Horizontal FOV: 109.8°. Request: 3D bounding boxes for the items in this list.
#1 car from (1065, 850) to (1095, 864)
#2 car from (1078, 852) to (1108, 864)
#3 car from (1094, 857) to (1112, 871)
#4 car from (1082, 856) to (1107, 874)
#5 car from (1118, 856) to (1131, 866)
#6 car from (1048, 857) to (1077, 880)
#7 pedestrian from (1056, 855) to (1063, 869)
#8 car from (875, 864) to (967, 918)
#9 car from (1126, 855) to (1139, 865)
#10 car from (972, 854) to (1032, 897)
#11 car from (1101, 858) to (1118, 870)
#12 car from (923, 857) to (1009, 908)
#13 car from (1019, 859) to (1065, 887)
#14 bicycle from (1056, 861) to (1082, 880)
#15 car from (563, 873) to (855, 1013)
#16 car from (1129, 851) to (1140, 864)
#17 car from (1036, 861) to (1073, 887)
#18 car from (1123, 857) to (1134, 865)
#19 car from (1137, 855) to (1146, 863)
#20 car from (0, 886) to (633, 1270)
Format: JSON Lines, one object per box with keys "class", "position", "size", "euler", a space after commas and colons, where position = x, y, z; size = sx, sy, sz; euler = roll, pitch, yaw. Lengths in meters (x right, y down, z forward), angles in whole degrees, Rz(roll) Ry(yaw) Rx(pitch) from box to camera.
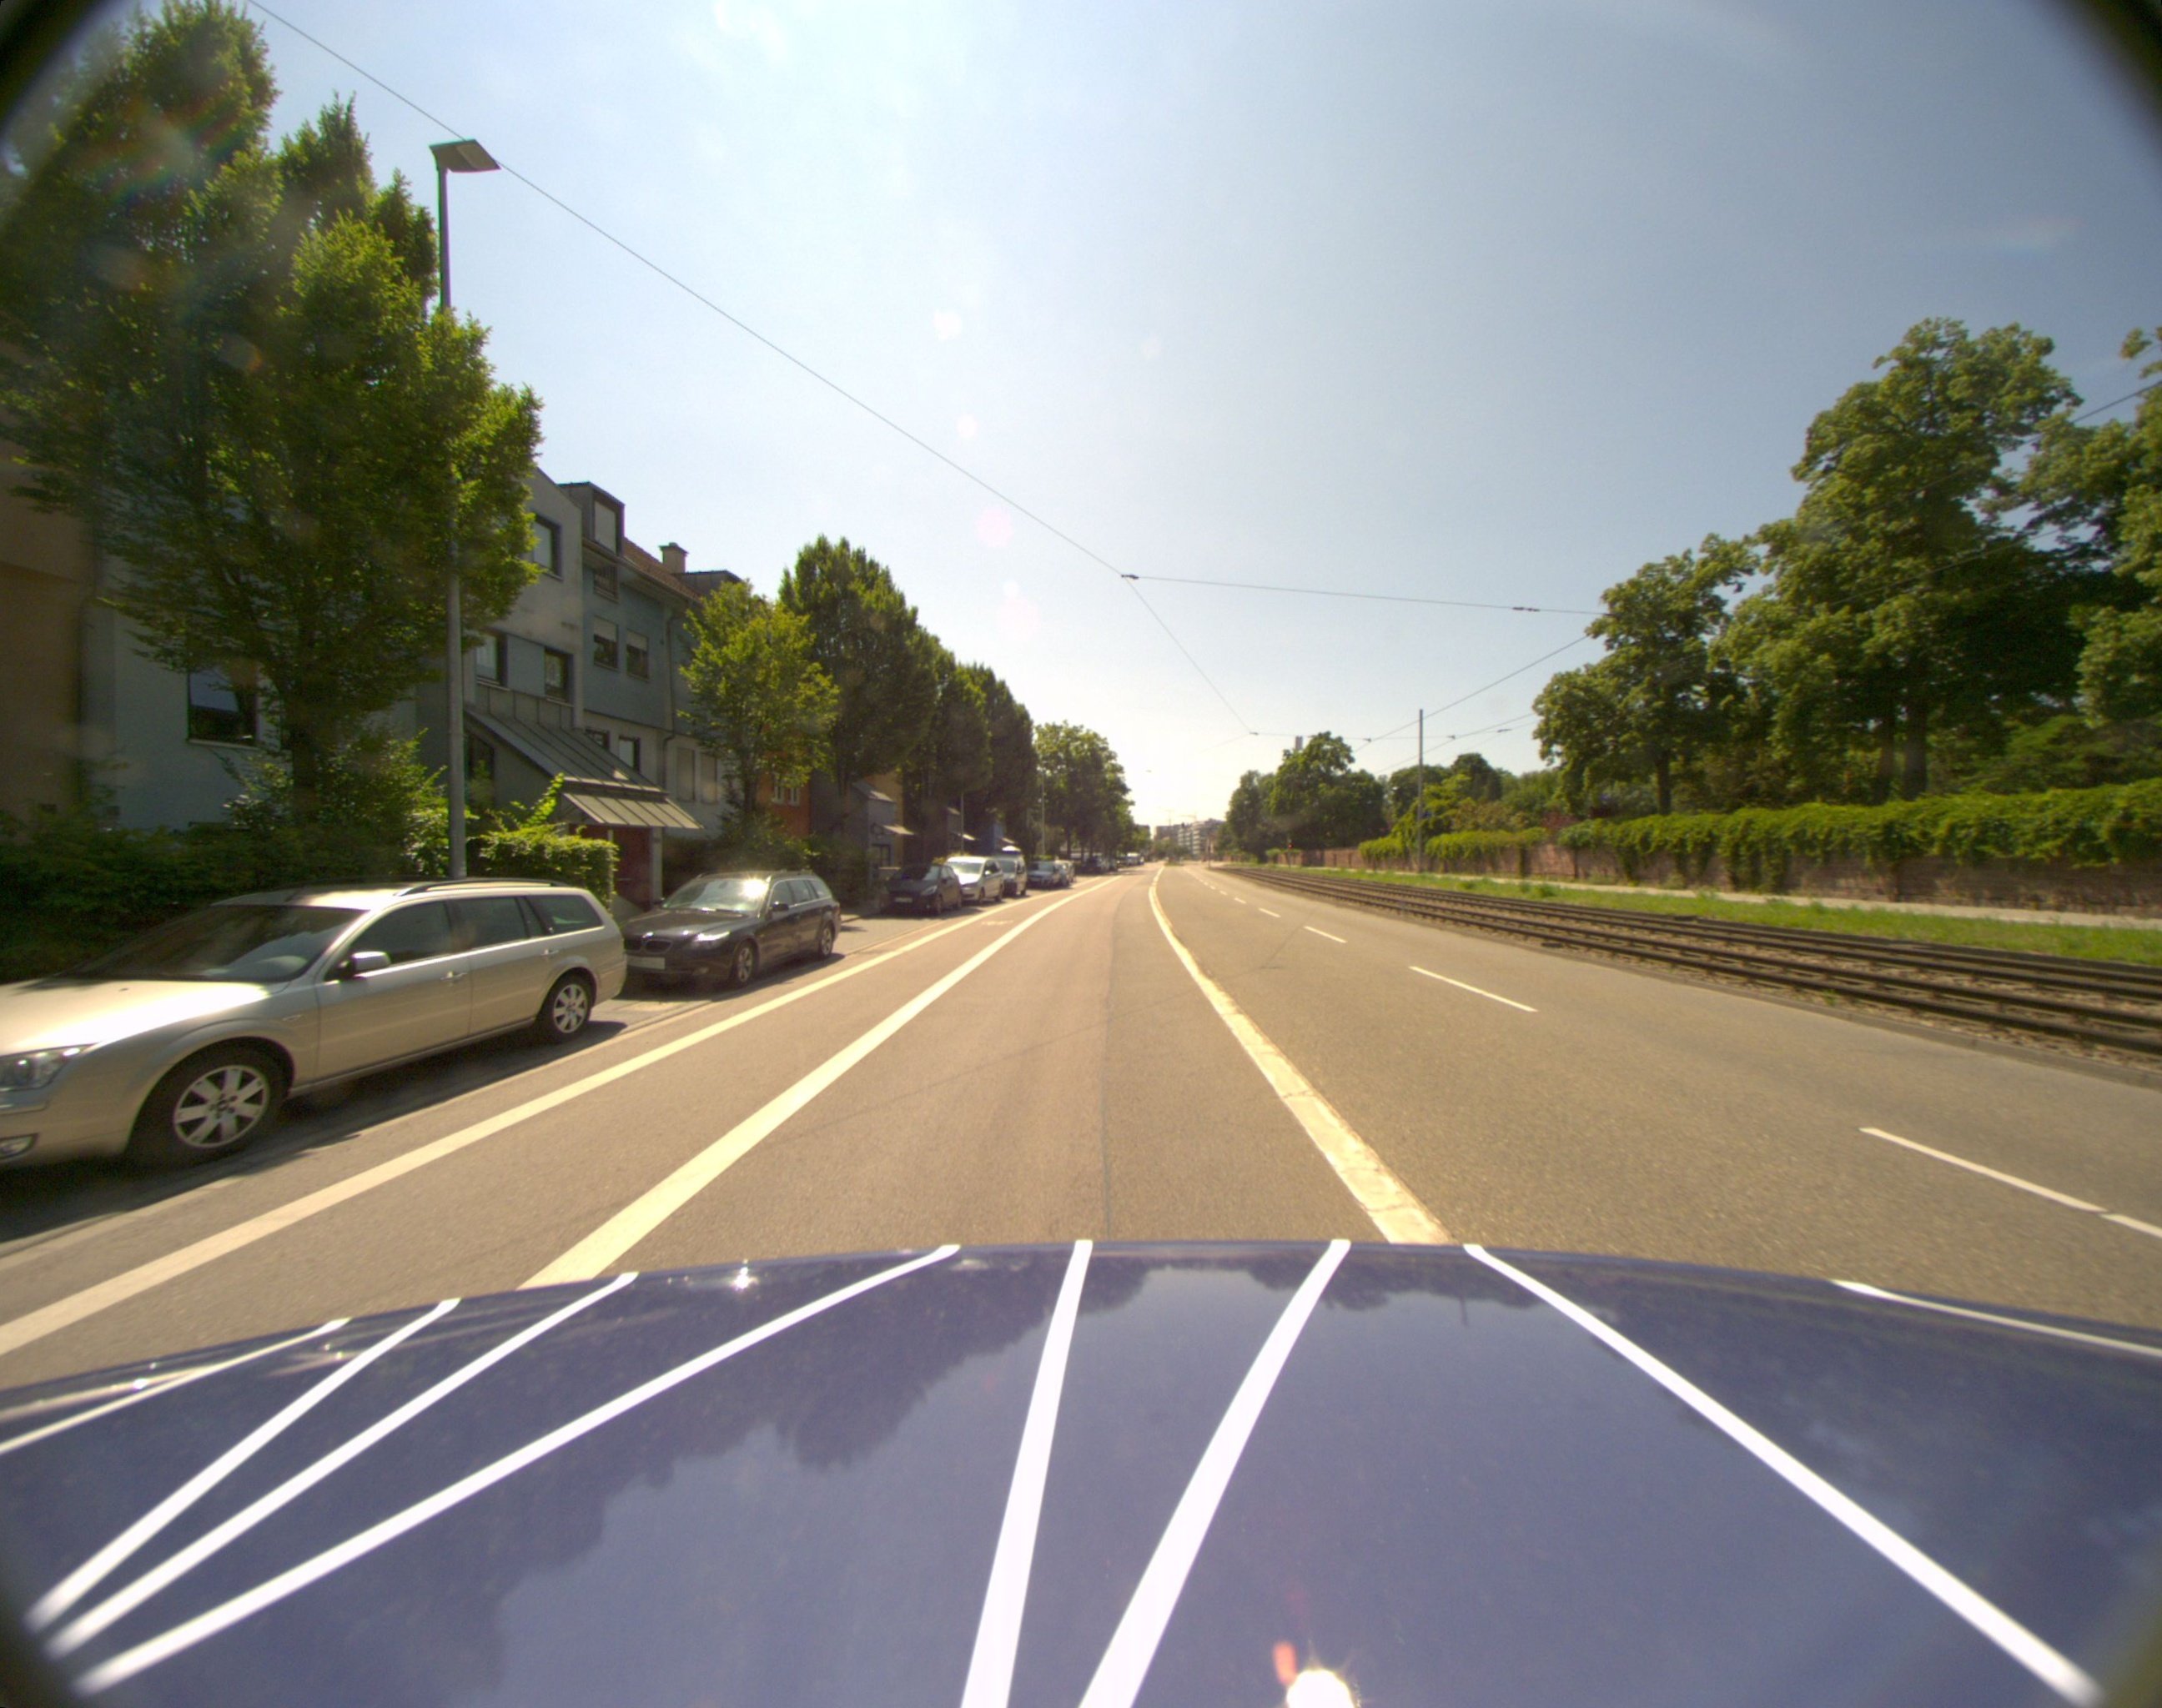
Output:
{"class": "car", "position": [-0.165, 0.607, 148.443], "size": [5.501, 2.445, 2.096], "euler": [-3, 0, 8]}
{"class": "car", "position": [2.717, 0.958, 172.946], "size": [6.352, 2.514, 2.265], "euler": [-3, 0, 10]}
{"class": "car", "position": [2.532, 1.142, 87.376], "size": [1.844, 1.520, 4.207], "euler": [2, 0, 4]}
{"class": "car", "position": [1.405, 1.063, 75.957], "size": [1.844, 1.696, 4.629], "euler": [2, 0, 8]}
{"class": "car", "position": [7.145, 1.152, 124.836], "size": [1.715, 1.623, 4.710], "euler": [2, 1, 6]}
{"class": "car", "position": [-1.276, 1.010, 54.454], "size": [1.522, 1.520, 3.819], "euler": [2, 0, 7]}
{"class": "pedestrian", "position": [-2.628, 1.005, 92.185], "size": [0.749, 1.712, 0.633], "euler": [-1, 0, 0]}
{"class": "car", "position": [-4.697, 1.041, 22.946], "size": [1.587, 1.415, 4.181], "euler": [2, 0, 4]}
{"class": "car", "position": [9.956, 1.159, 147.589], "size": [2.001, 1.867, 5.279], "euler": [2, 0, 9]}
{"class": "car", "position": [-3.512, 0.936, 34.525], "size": [1.844, 1.783, 4.355], "euler": [2, 0, 5]}
{"class": "car", "position": [3.527, 1.190, 93.189], "size": [1.844, 1.427, 4.826], "euler": [2, 0, 5]}
{"class": "car", "position": [-4.118, 0.972, 28.046], "size": [1.844, 1.684, 4.781], "euler": [2, 0, 7]}
{"class": "car", "position": [-2.225, 1.066, 44.446], "size": [1.844, 1.520, 4.219], "euler": [2, 0, 8]}
{"class": "bicycle", "position": [-0.890, 1.217, 56.462], "size": [1.776, 1.221, 0.684], "euler": [4, 1, 11]}
{"class": "car", "position": [-5.151, 1.118, 11.499], "size": [1.711, 1.484, 5.039], "euler": [2, 0, 3]}
{"class": "car", "position": [10.874, 0.722, 154.471], "size": [2.001, 2.621, 6.146], "euler": [2, 0, 7]}
{"class": "car", "position": [-1.645, 1.275, 49.356], "size": [1.844, 1.520, 4.967], "euler": [2, 0, 4]}
{"class": "car", "position": [8.563, 1.245, 136.820], "size": [1.716, 1.410, 4.710], "euler": [2, 0, 5]}
{"class": "car", "position": [14.639, 1.287, 183.765], "size": [1.883, 1.905, 5.128], "euler": [2, 0, 7]}
{"class": "car", "position": [-5.572, 1.091, 5.491], "size": [1.711, 1.484, 4.732], "euler": [2, 0, 2]}
